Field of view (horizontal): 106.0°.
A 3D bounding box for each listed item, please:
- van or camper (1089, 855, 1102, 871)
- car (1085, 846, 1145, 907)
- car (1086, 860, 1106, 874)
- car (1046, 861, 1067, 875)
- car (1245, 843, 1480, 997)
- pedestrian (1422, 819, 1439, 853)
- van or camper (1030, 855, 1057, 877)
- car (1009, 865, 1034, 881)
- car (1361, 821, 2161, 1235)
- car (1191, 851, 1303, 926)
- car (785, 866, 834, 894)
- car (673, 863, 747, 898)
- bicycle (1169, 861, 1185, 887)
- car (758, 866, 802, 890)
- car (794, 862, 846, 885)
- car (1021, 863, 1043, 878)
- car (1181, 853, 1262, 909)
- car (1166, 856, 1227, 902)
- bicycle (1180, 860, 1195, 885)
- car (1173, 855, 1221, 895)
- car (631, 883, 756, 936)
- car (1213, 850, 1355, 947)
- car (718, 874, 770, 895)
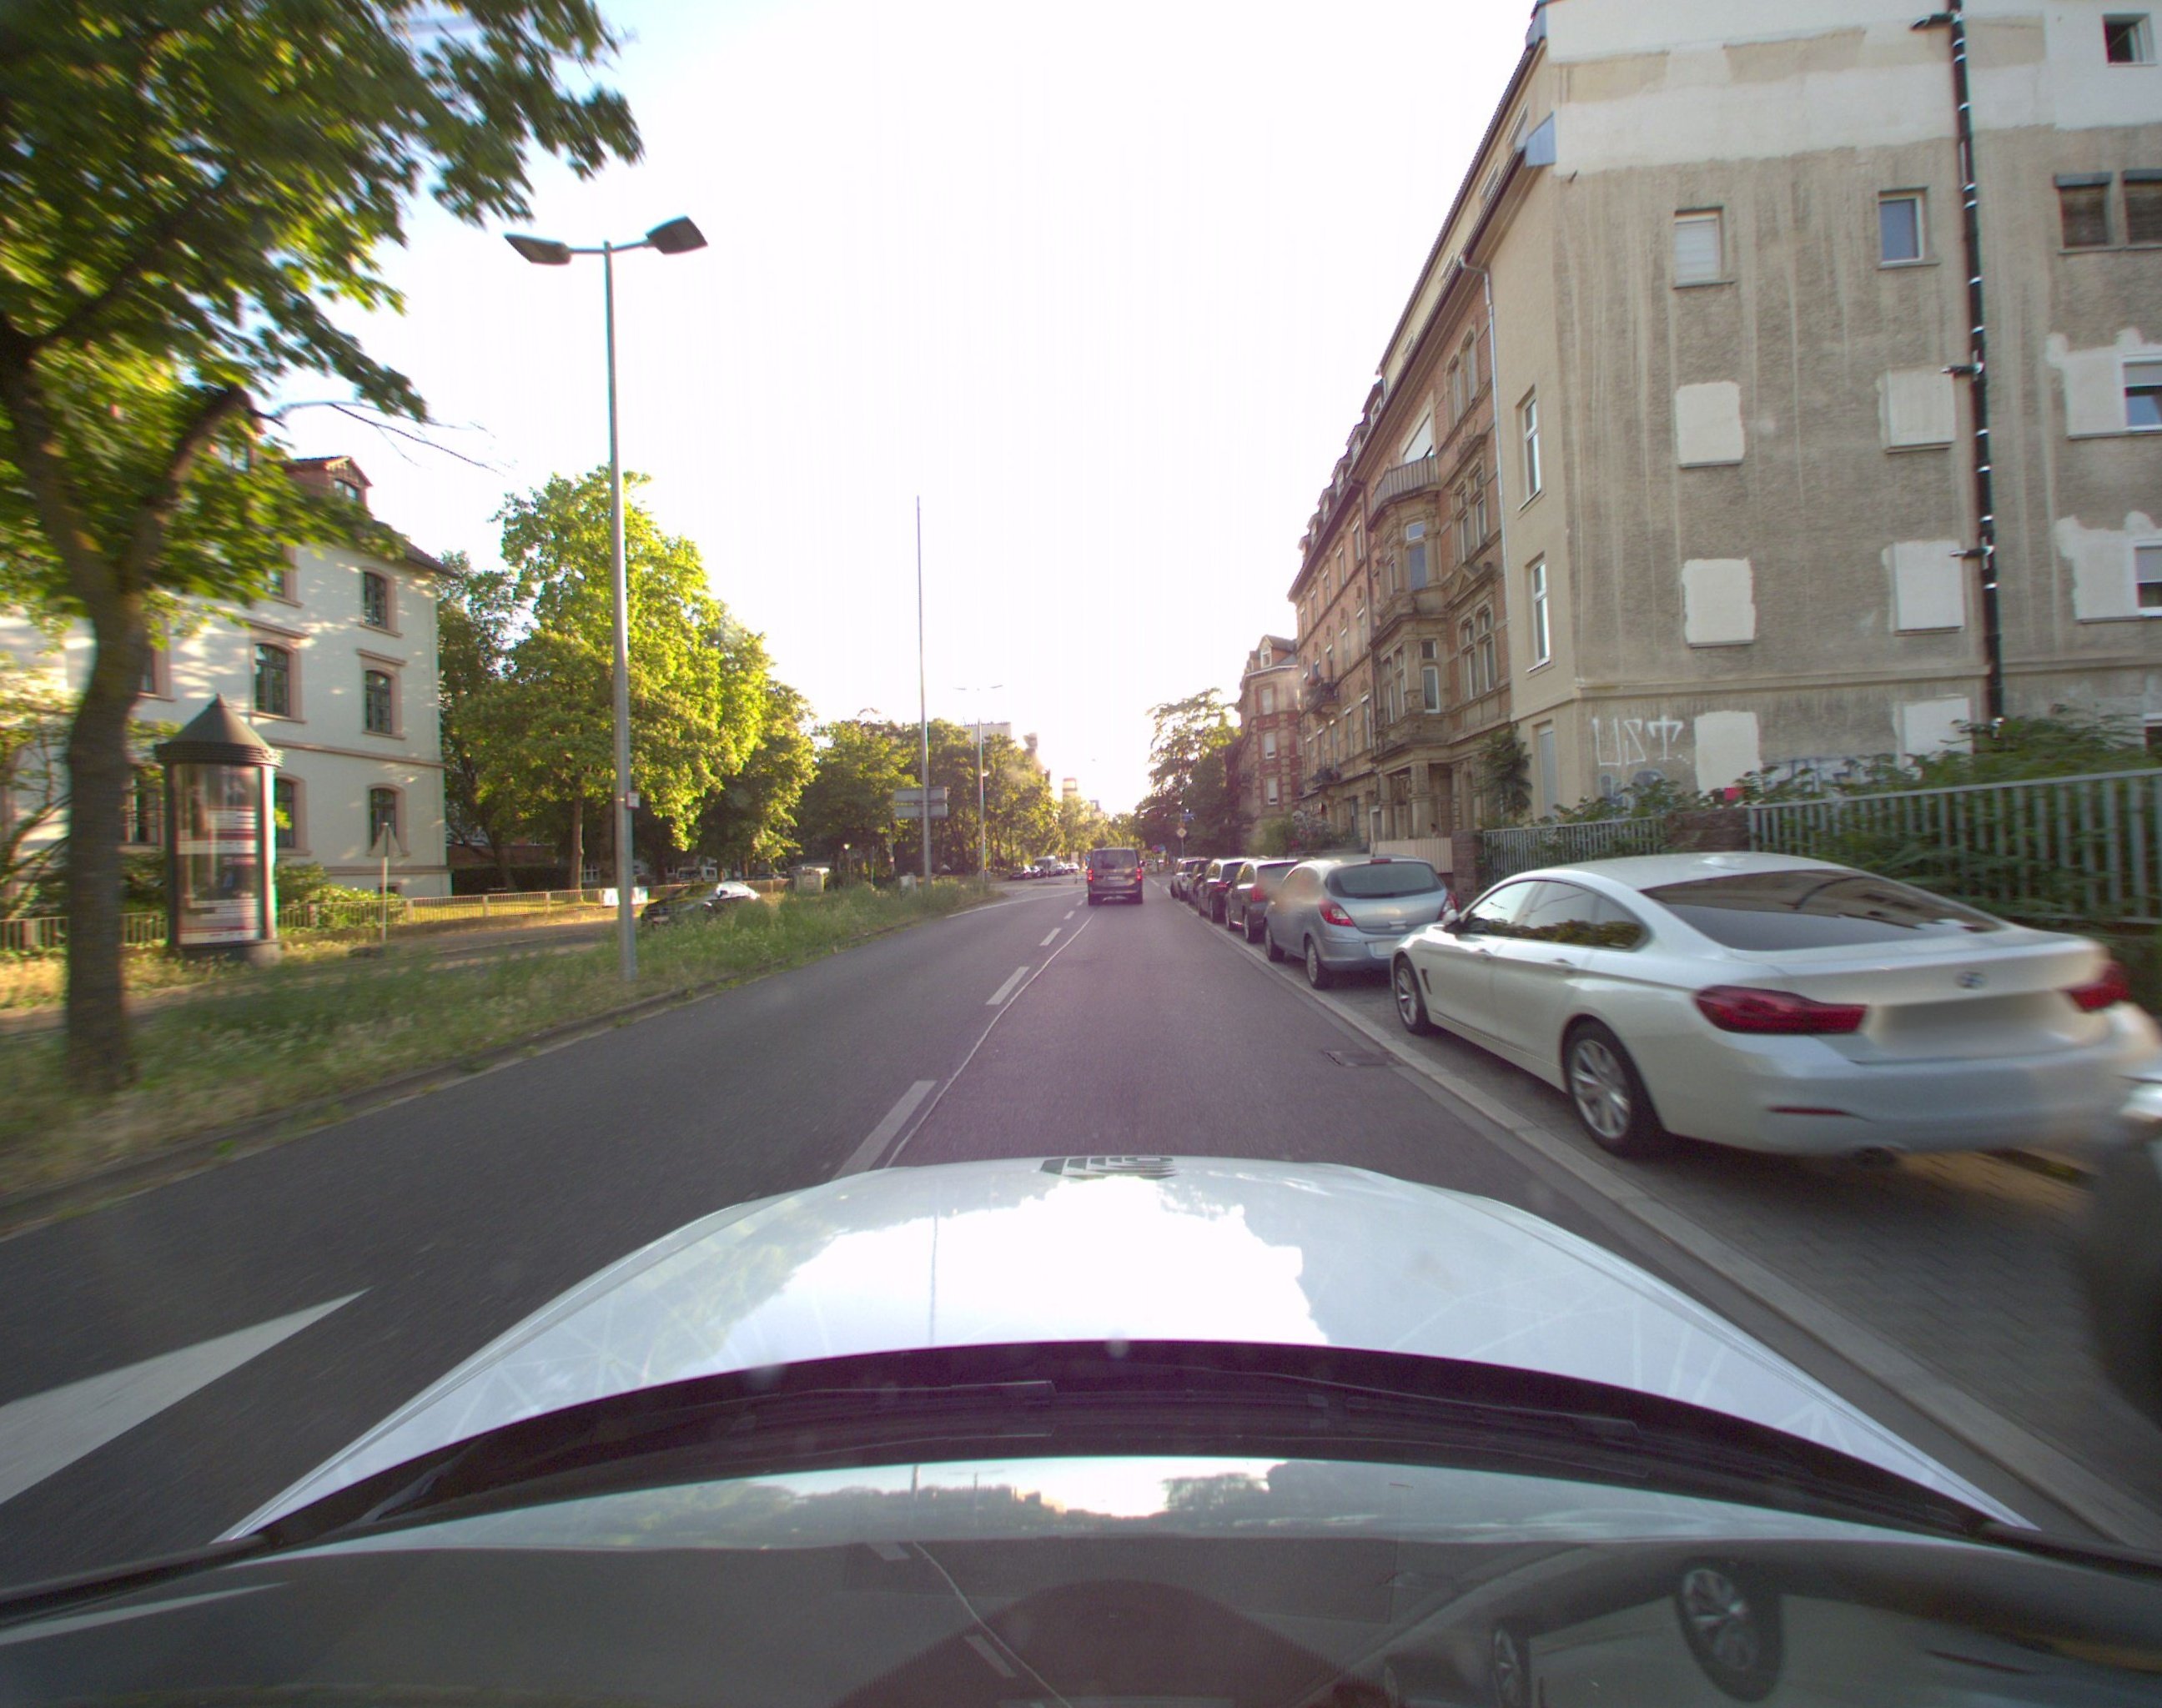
[{"bbox_3d":[2.472,1.501,135.937,1.985,2.669,6.044,-1,0,4],"label":"van or camper"},{"bbox_3d":[1.193,0.760,28.635,1.880,1.925,3.841,-3,-1,2],"label":"car"},{"bbox_3d":[1.978,1.721,107.074,1.865,1.706,4.579,-5,-1,9],"label":"car"},{"bbox_3d":[-3.066,1.737,104.055,1.856,1.645,4.580,-3,-1,7],"label":"car"},{"bbox_3d":[3.412,0.730,10.693,1.694,1.487,3.893,-6,-1,1],"label":"car"},{"bbox_3d":[10.635,-0.551,24.797,0.398,1.029,0.322,-1,-1,35],"label":"pedestrian"},{"bbox_3d":[-4.376,1.414,96.851,2.080,2.468,6.317,-3,-1,7],"label":"van or camper"},{"bbox_3d":[-6.059,1.893,83.104,1.614,1.506,4.554,-3,-1,8],"label":"car"},{"bbox_3d":[3.459,0.664,5.343,1.721,1.385,4.646,-6,-1,3],"label":"car"},{"bbox_3d":[3.915,0.775,19.979,1.880,1.448,4.466,-6,-1,2],"label":"car"},{"bbox_3d":[-18.668,1.782,56.154,1.810,1.795,4.003,-2,-1,3],"label":"car"},{"bbox_3d":[-26.020,1.799,57.338,2.201,2.289,5.112,-2,-1,10],"label":"car"},{"bbox_3d":[5.260,1.106,44.723,0.563,1.299,2.266,-6,-2,3],"label":"bicycle"},{"bbox_3d":[-25.299,1.982,68.559,1.985,1.882,4.003,-1,0,3],"label":"car"},{"bbox_3d":[-30.480,2.268,95.110,2.244,2.485,5.267,-3,-1,41],"label":"car"},{"bbox_3d":[-5.310,1.773,89.114,1.620,1.429,4.250,-3,-1,7],"label":"car"},{"bbox_3d":[4.256,0.790,25.287,1.880,1.426,4.345,-6,-1,3],"label":"car"},{"bbox_3d":[4.167,0.880,29.793,1.671,1.426,3.678,-6,-1,1],"label":"car"},{"bbox_3d":[5.831,1.020,44.708,0.563,1.275,2.266,-6,-2,3],"label":"bicycle"},{"bbox_3d":[4.881,0.871,34.651,1.718,1.465,3.551,-6,-1,4],"label":"car"},{"bbox_3d":[-12.236,1.707,26.017,1.766,1.273,4.011,-6,-1,3],"label":"car"},{"bbox_3d":[3.668,0.751,15.385,1.740,1.426,3.842,-6,-1,2],"label":"car"},{"bbox_3d":[-23.308,2.076,56.470,1.725,1.332,4.003,-2,-1,3],"label":"car"}]
